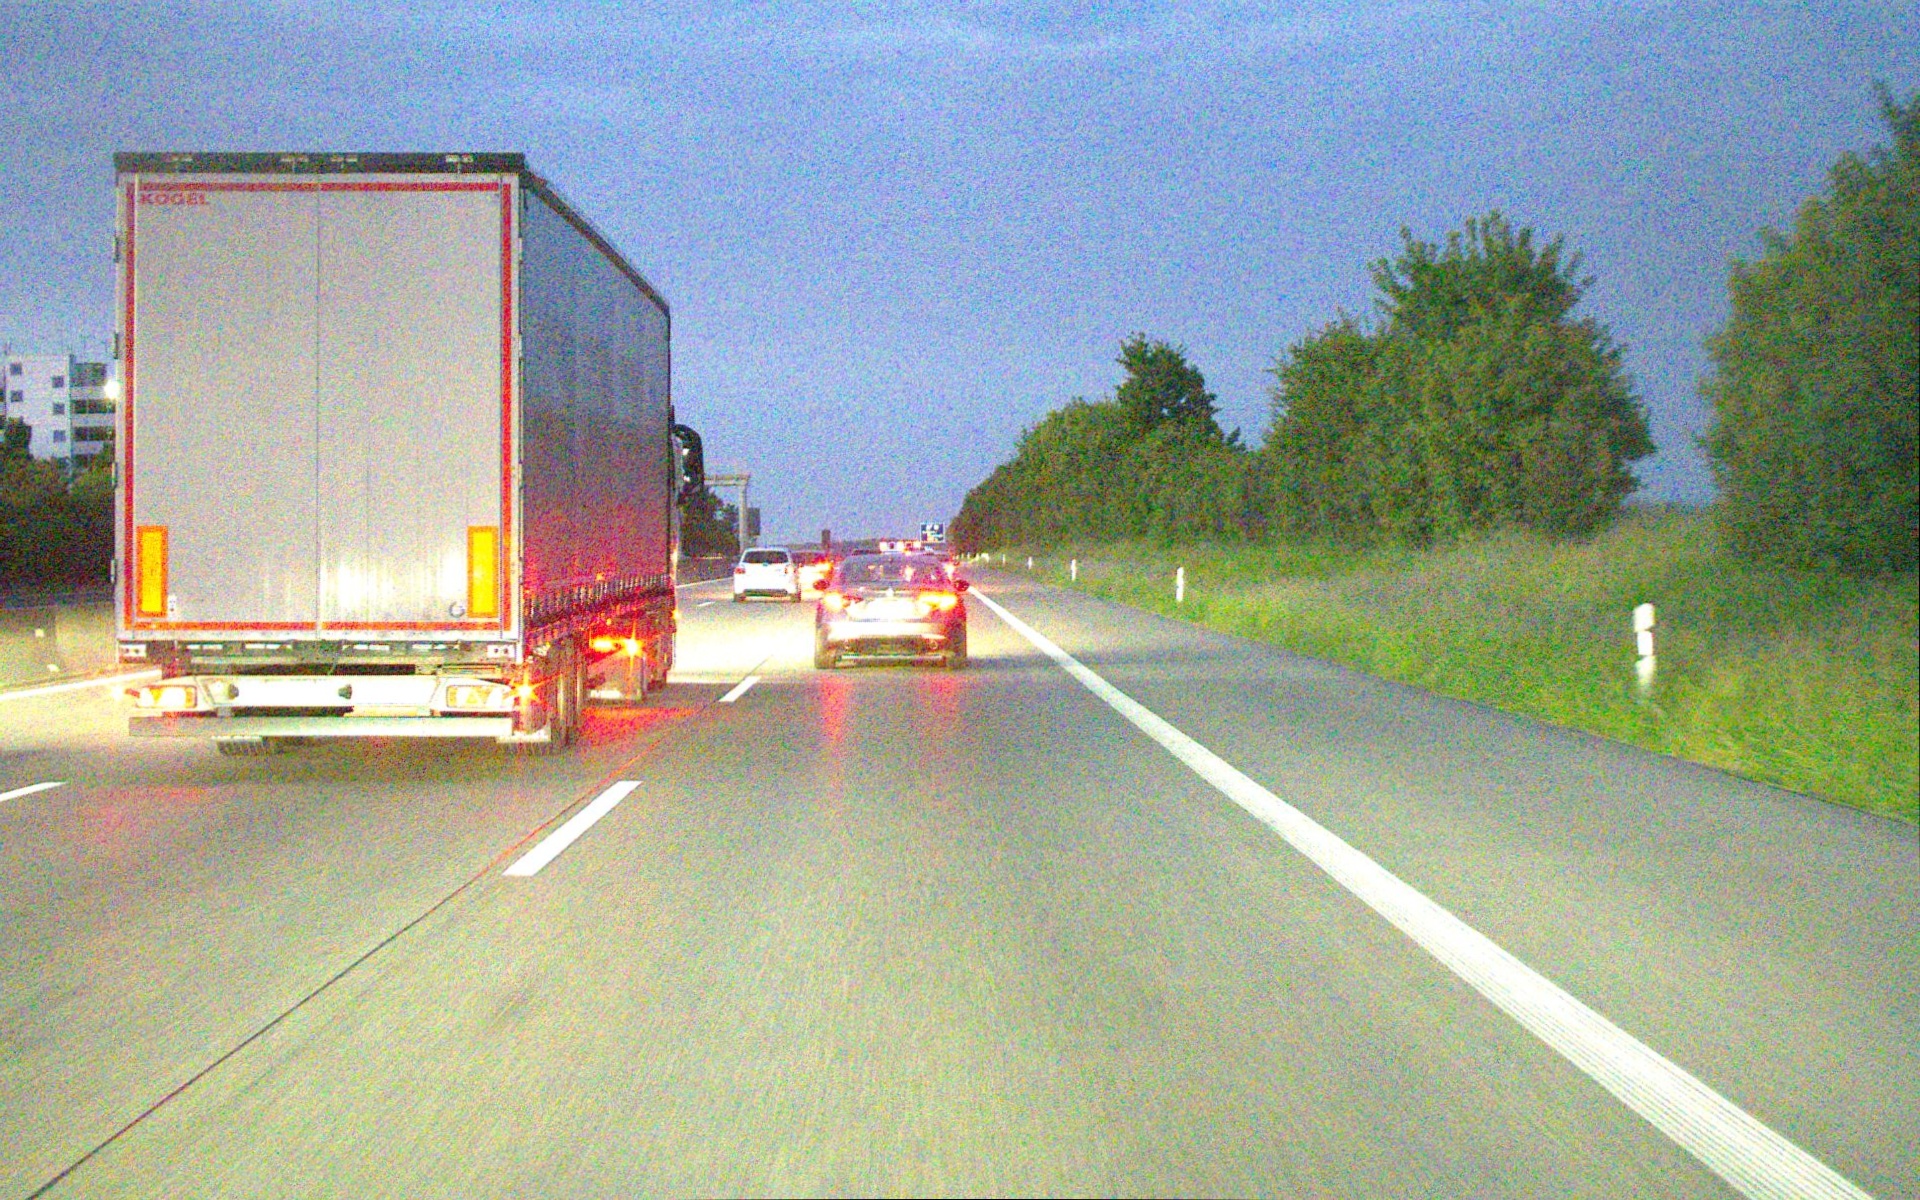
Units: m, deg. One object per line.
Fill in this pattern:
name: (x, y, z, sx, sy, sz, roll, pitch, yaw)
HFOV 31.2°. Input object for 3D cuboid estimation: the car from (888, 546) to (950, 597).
car: (-1.314, -0.909, 108.167, 1.880, 1.547, 4.000, 1, 0, -1)

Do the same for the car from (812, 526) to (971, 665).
car: (-0.842, -0.068, 43.088, 1.880, 1.637, 4.000, 1, 0, -1)

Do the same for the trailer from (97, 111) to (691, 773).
trailer: (-4.061, -1.035, 28.493, 2.794, 4.071, 14.526, 0, 0, -1)

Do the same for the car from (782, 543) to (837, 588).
car: (-5.060, -1.146, 116.150, 1.722, 1.466, 4.726, 1, 0, -1)

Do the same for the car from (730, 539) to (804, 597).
car: (-5.251, -0.874, 93.844, 1.744, 1.519, 4.414, 1, 0, 0)

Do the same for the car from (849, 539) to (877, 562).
car: (-6.673, -3.404, 237.766, 1.880, 1.547, 4.000, 1, 0, -1)

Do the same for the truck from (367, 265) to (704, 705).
truck: (-4.189, -1.100, 35.128, 2.777, 4.079, 6.103, 0, 0, -1)
